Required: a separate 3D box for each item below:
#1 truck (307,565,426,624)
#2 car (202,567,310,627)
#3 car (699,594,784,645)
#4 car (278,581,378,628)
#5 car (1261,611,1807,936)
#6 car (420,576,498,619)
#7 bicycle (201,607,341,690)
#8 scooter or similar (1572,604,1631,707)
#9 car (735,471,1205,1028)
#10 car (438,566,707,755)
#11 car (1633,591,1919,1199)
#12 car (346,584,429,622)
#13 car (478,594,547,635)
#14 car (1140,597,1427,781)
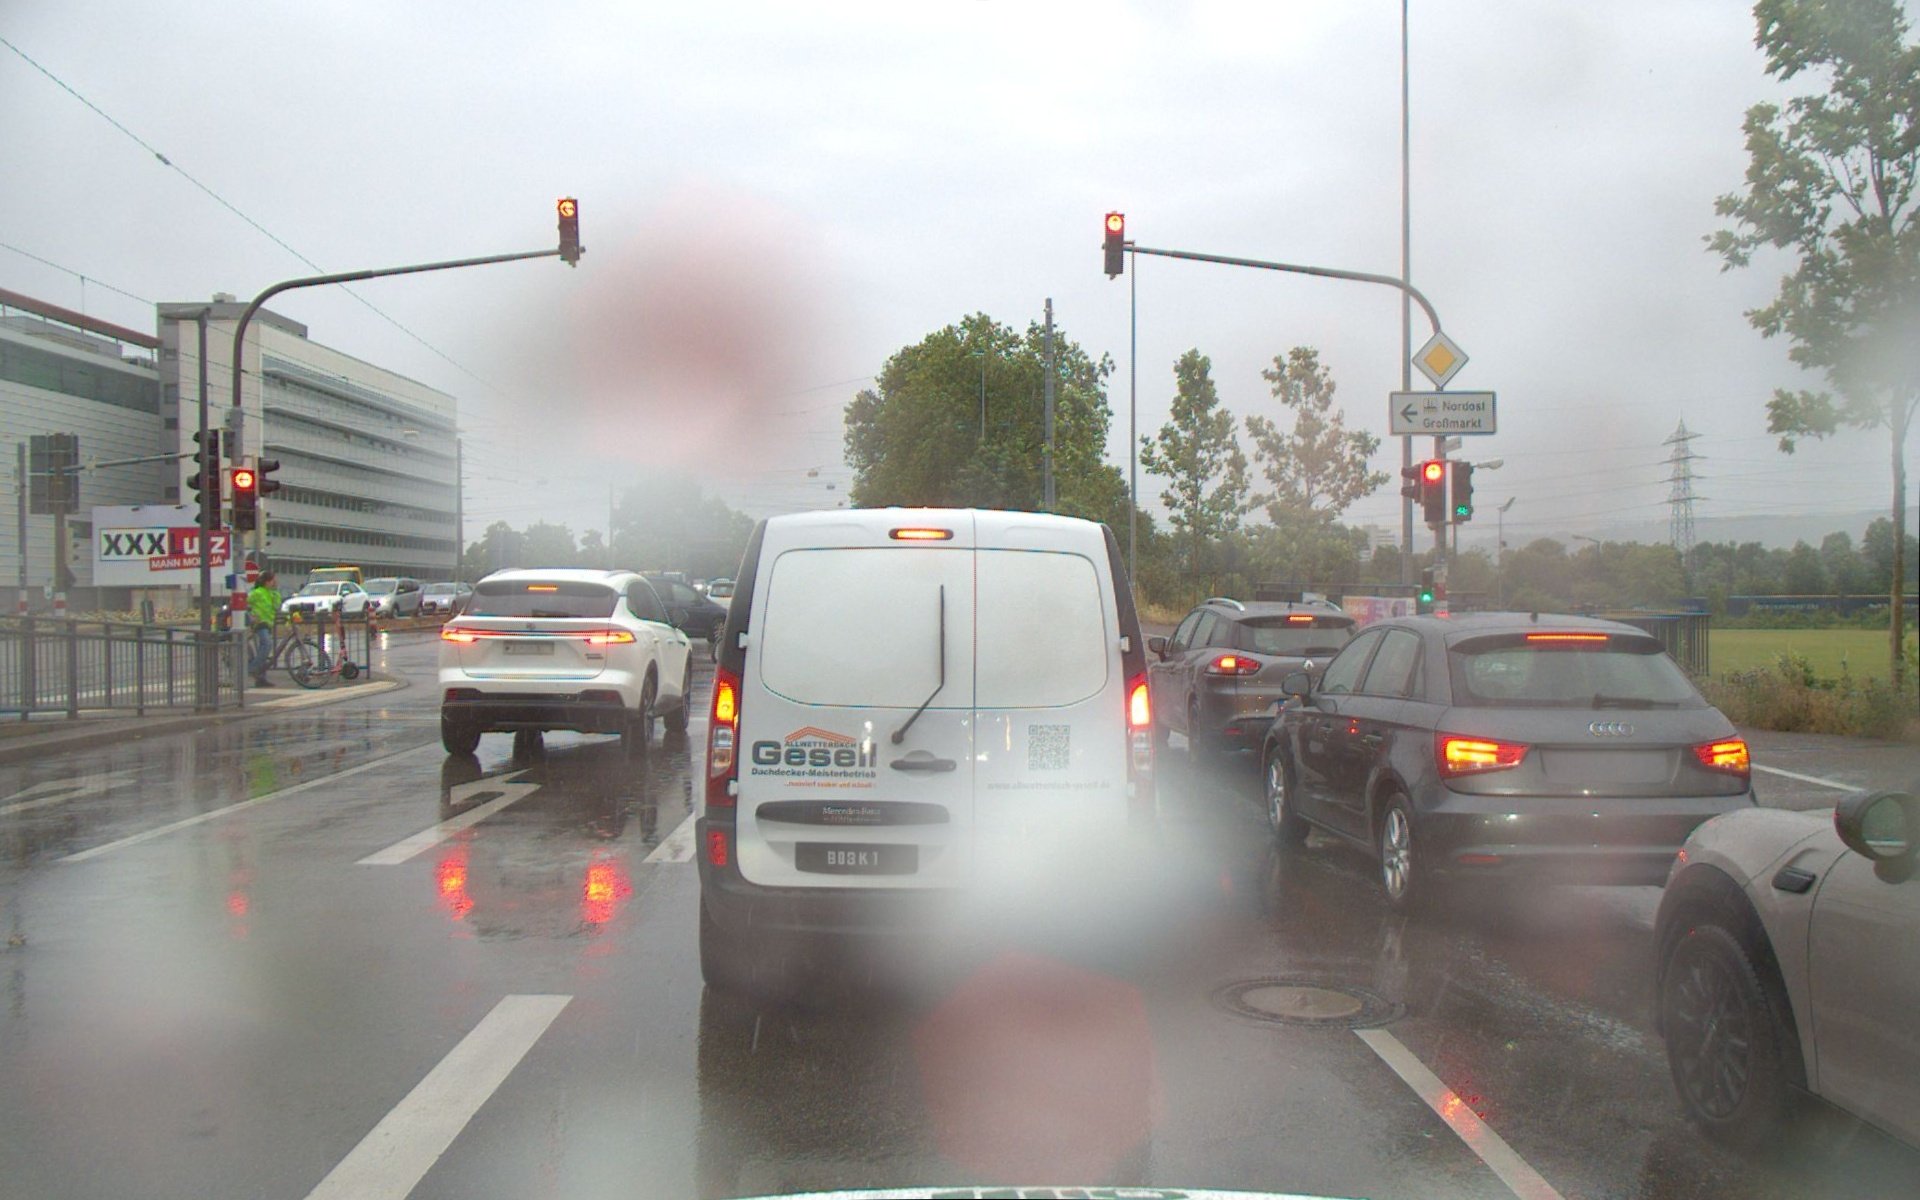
[{"bbox_3d":[-25.042,-0.219,70.189,2.303,2.319,7.632,1,0,0],"label":"truck"},{"bbox_3d":[-25.295,-0.089,59.595,1.952,2.049,4.002,1,0,3],"label":"car"},{"bbox_3d":[-6.875,0.616,52.355,1.580,1.530,3.718,1,0,10],"label":"car"},{"bbox_3d":[-21.665,0.168,56.867,1.662,1.518,3.878,1,0,5],"label":"car"},{"bbox_3d":[2.814,0.763,8.955,1.596,1.368,3.622,1,0,-2],"label":"car"},{"bbox_3d":[-21.107,-0.080,69.836,1.853,1.729,4.001,1,0,3],"label":"car"},{"bbox_3d":[-9.687,0.682,23.291,1.716,1.052,0.414,4,-1,-3],"label":"bicycle"},{"bbox_3d":[7.576,0.637,19.569,0.240,1.178,1.186,1,0,1],"label":"scooter or similar"},{"bbox_3d":[0.009,0.496,7.433,1.534,1.819,3.999,0,0,-1],"label":"car"},{"bbox_3d":[-3.577,0.485,16.029,1.694,1.562,4.296,1,1,-2],"label":"car"},{"bbox_3d":[2.939,0.764,3.223,1.679,1.534,3.622,1,0,-2],"label":"car"},{"bbox_3d":[-21.685,0.124,62.767,1.554,1.359,3.832,1,-1,4],"label":"car"},{"bbox_3d":[-20.805,0.661,77.102,1.889,1.859,4.002,1,0,4],"label":"car"},{"bbox_3d":[2.882,0.731,15.559,1.822,1.453,3.806,1,1,-2],"label":"car"}]
